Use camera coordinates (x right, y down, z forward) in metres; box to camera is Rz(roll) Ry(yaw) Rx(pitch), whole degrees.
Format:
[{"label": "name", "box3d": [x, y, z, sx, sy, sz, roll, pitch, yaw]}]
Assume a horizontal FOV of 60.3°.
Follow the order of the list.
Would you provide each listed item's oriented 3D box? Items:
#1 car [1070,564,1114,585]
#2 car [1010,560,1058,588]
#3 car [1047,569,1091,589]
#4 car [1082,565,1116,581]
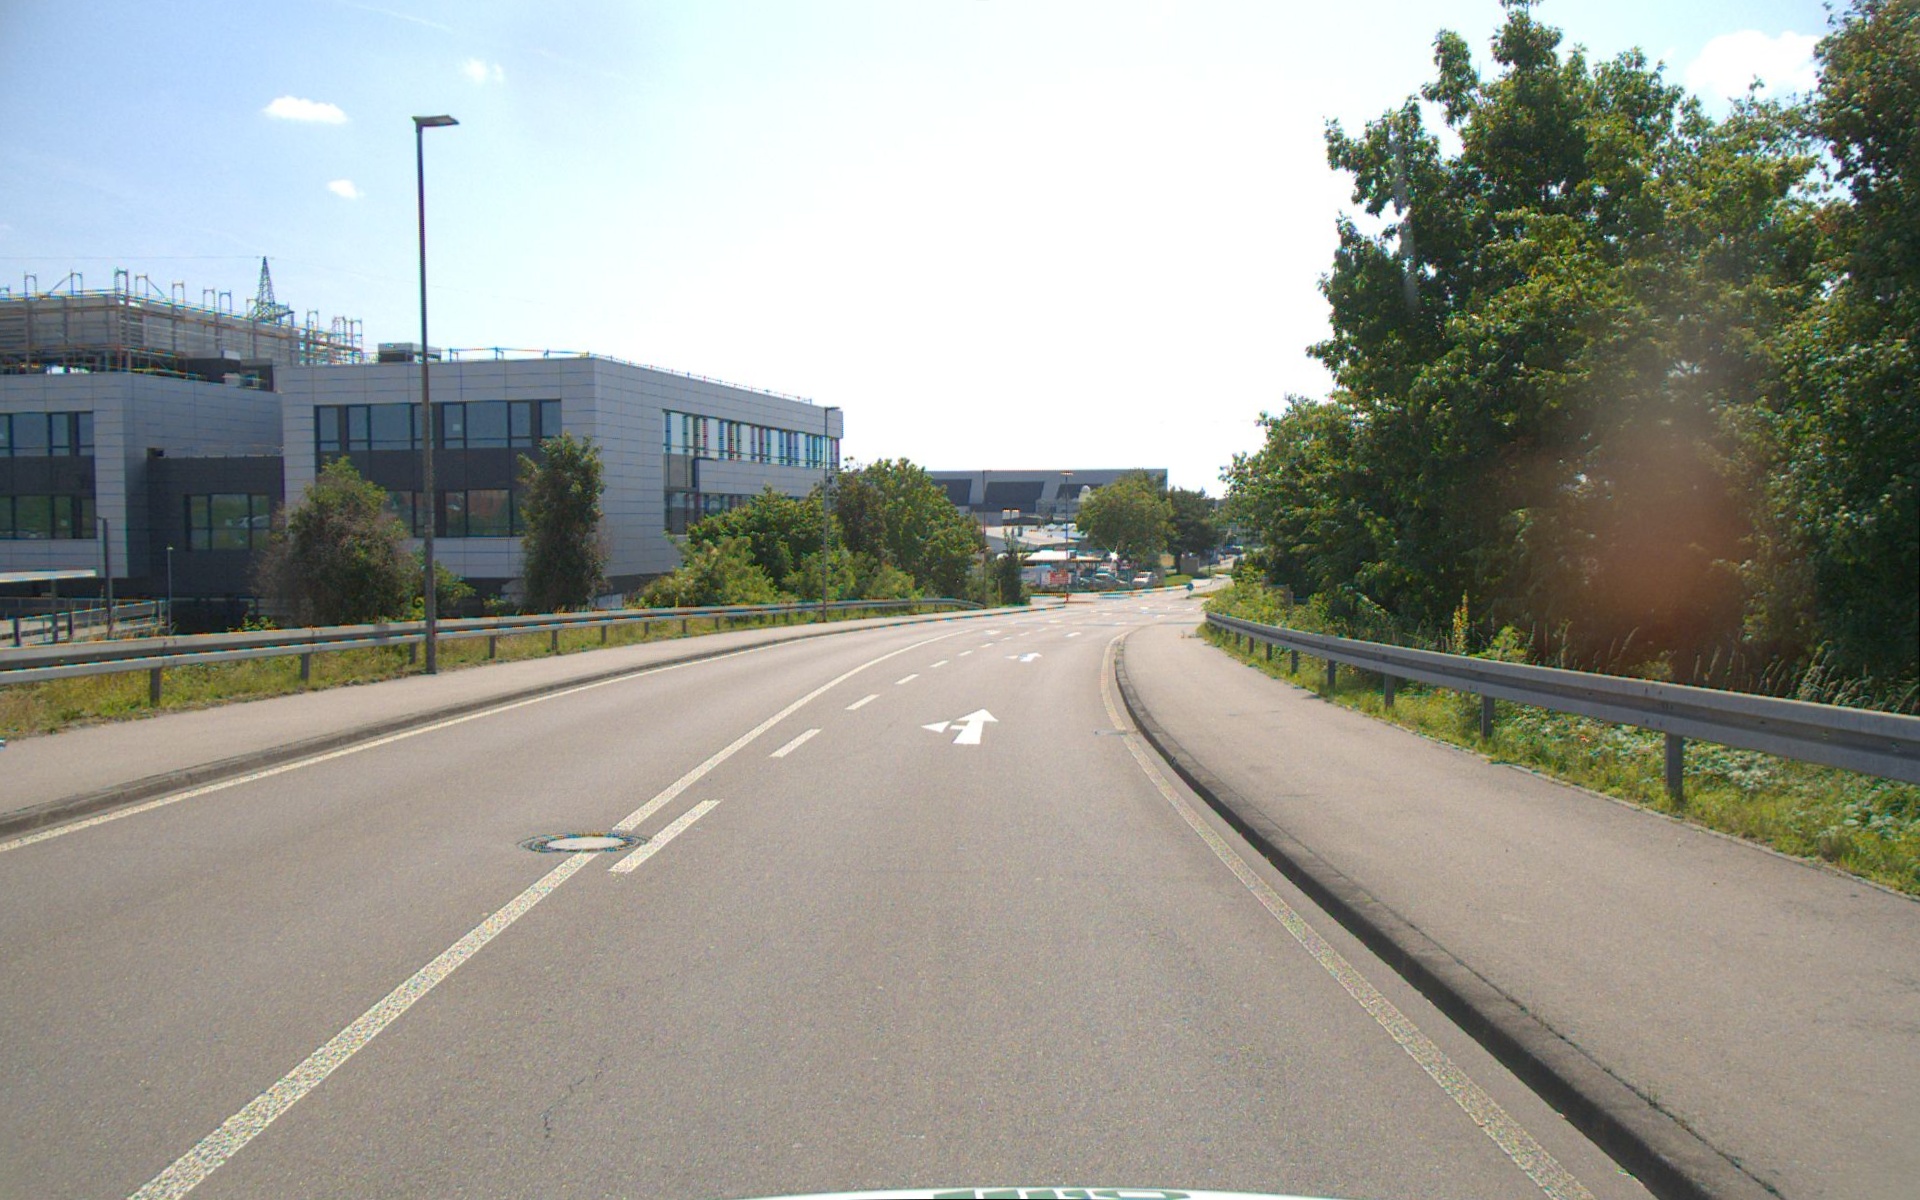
[{"label": "car", "box3d": [13.121, -2.548, 164.181, 3.927, 1.936, 1.990, 3, 4, 41]}, {"label": "car", "box3d": [7.106, -2.481, 158.786, 4.288, 2.654, 1.988, 1, 1, 42]}, {"label": "car", "box3d": [10.533, -2.034, 160.427, 3.930, 1.811, 1.988, 3, 4, 43]}, {"label": "car", "box3d": [16.484, -3.179, 195.888, 3.904, 1.882, 1.835, 0, 2, 2]}]
